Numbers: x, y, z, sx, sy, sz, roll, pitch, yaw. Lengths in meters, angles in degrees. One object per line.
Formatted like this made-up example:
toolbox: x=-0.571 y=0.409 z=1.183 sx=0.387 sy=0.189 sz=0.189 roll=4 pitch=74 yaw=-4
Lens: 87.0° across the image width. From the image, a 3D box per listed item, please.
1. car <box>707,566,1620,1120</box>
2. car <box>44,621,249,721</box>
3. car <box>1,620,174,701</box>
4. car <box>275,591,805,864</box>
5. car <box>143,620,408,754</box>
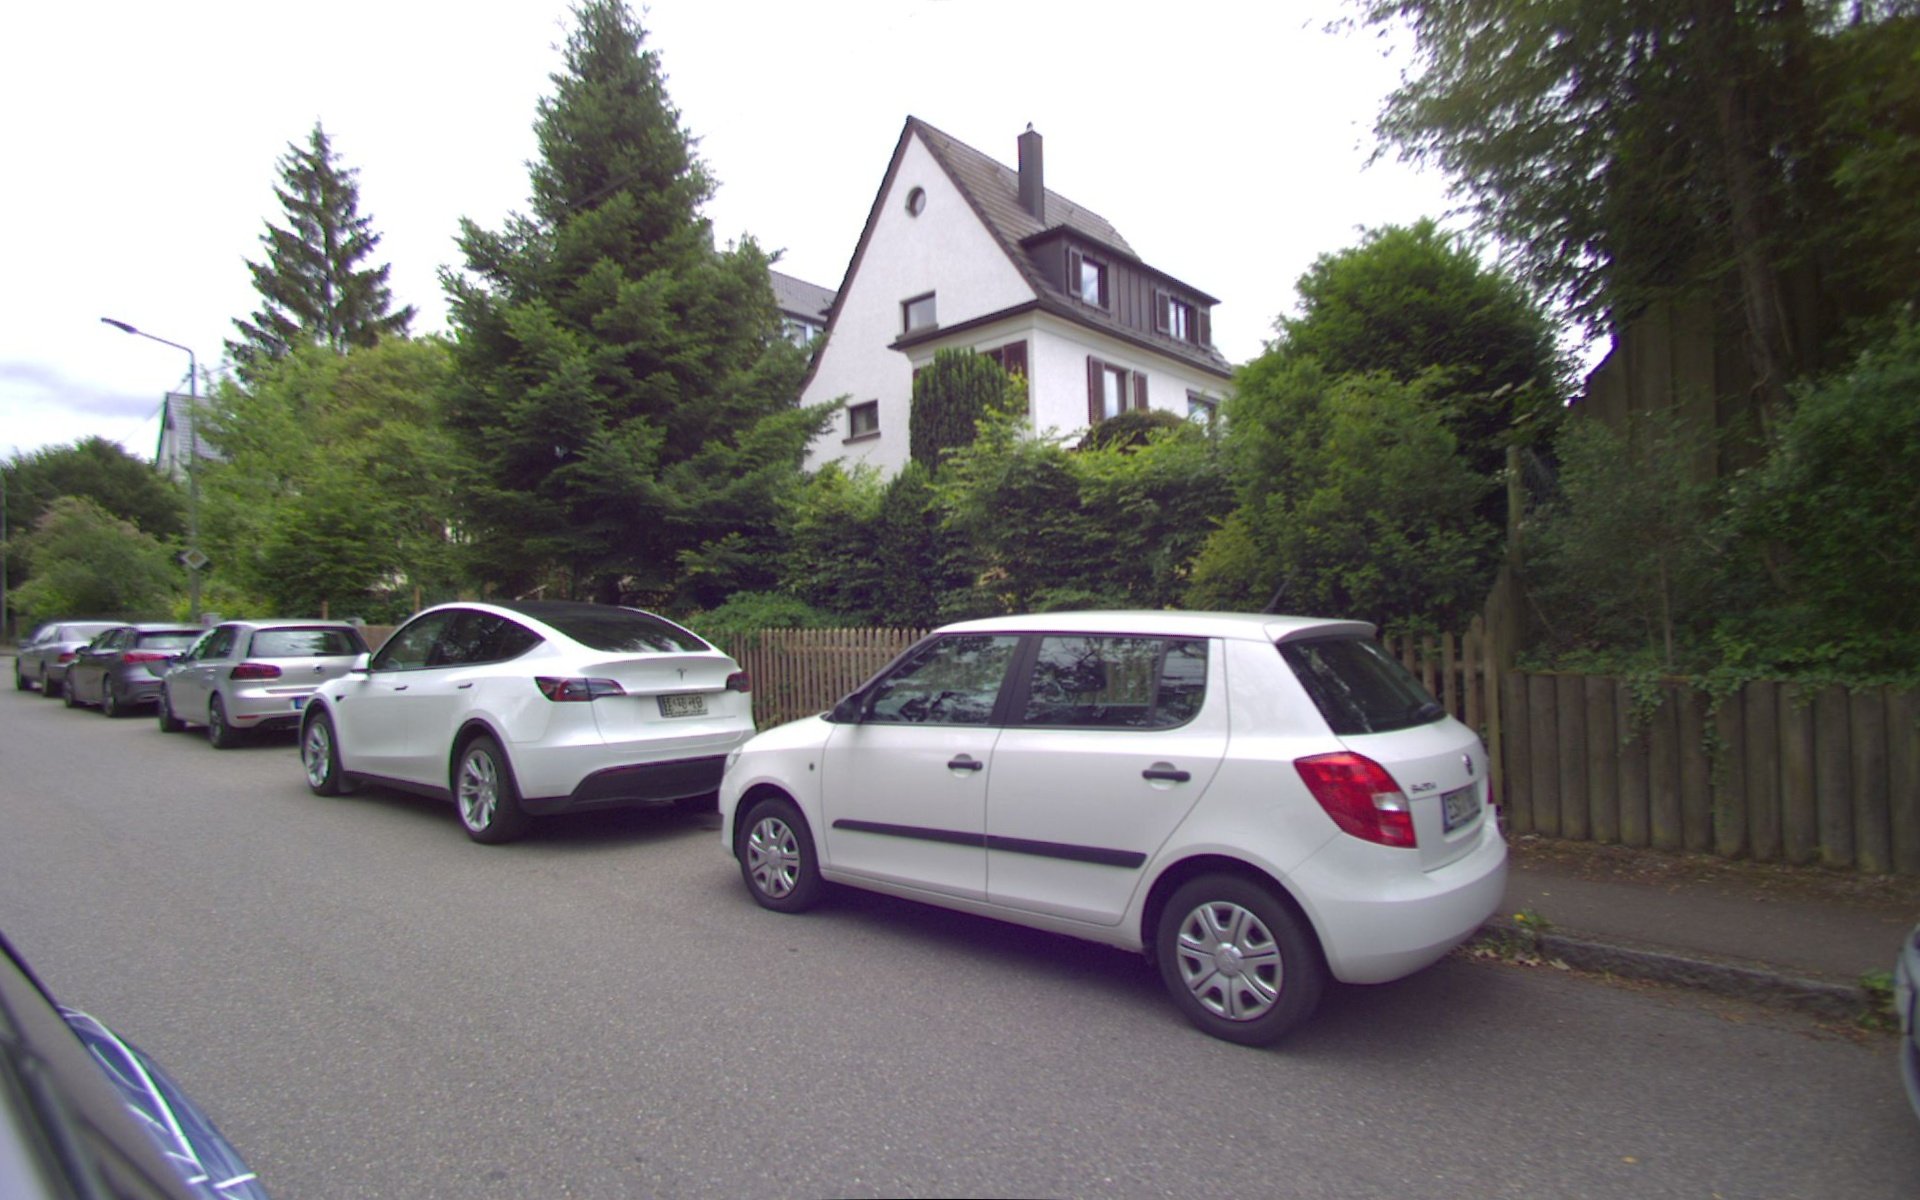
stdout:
car: x=0.667 y=0.727 z=4.702 sx=3.815 sy=1.516 sz=1.702 roll=-1 pitch=-3 yaw=41
car: x=-13.402 y=1.066 z=16.592 sx=4.257 sy=1.450 sz=1.717 roll=-1 pitch=-2 yaw=38
car: x=-17.726 y=1.142 z=20.478 sx=4.905 sy=1.450 sz=1.830 roll=-1 pitch=-2 yaw=39
car: x=-3.514 y=0.807 z=8.051 sx=4.598 sy=1.574 sz=1.897 roll=-1 pitch=-3 yaw=39
car: x=-8.872 y=0.986 z=12.991 sx=4.114 sy=1.450 sz=1.815 roll=-1 pitch=-2 yaw=41
